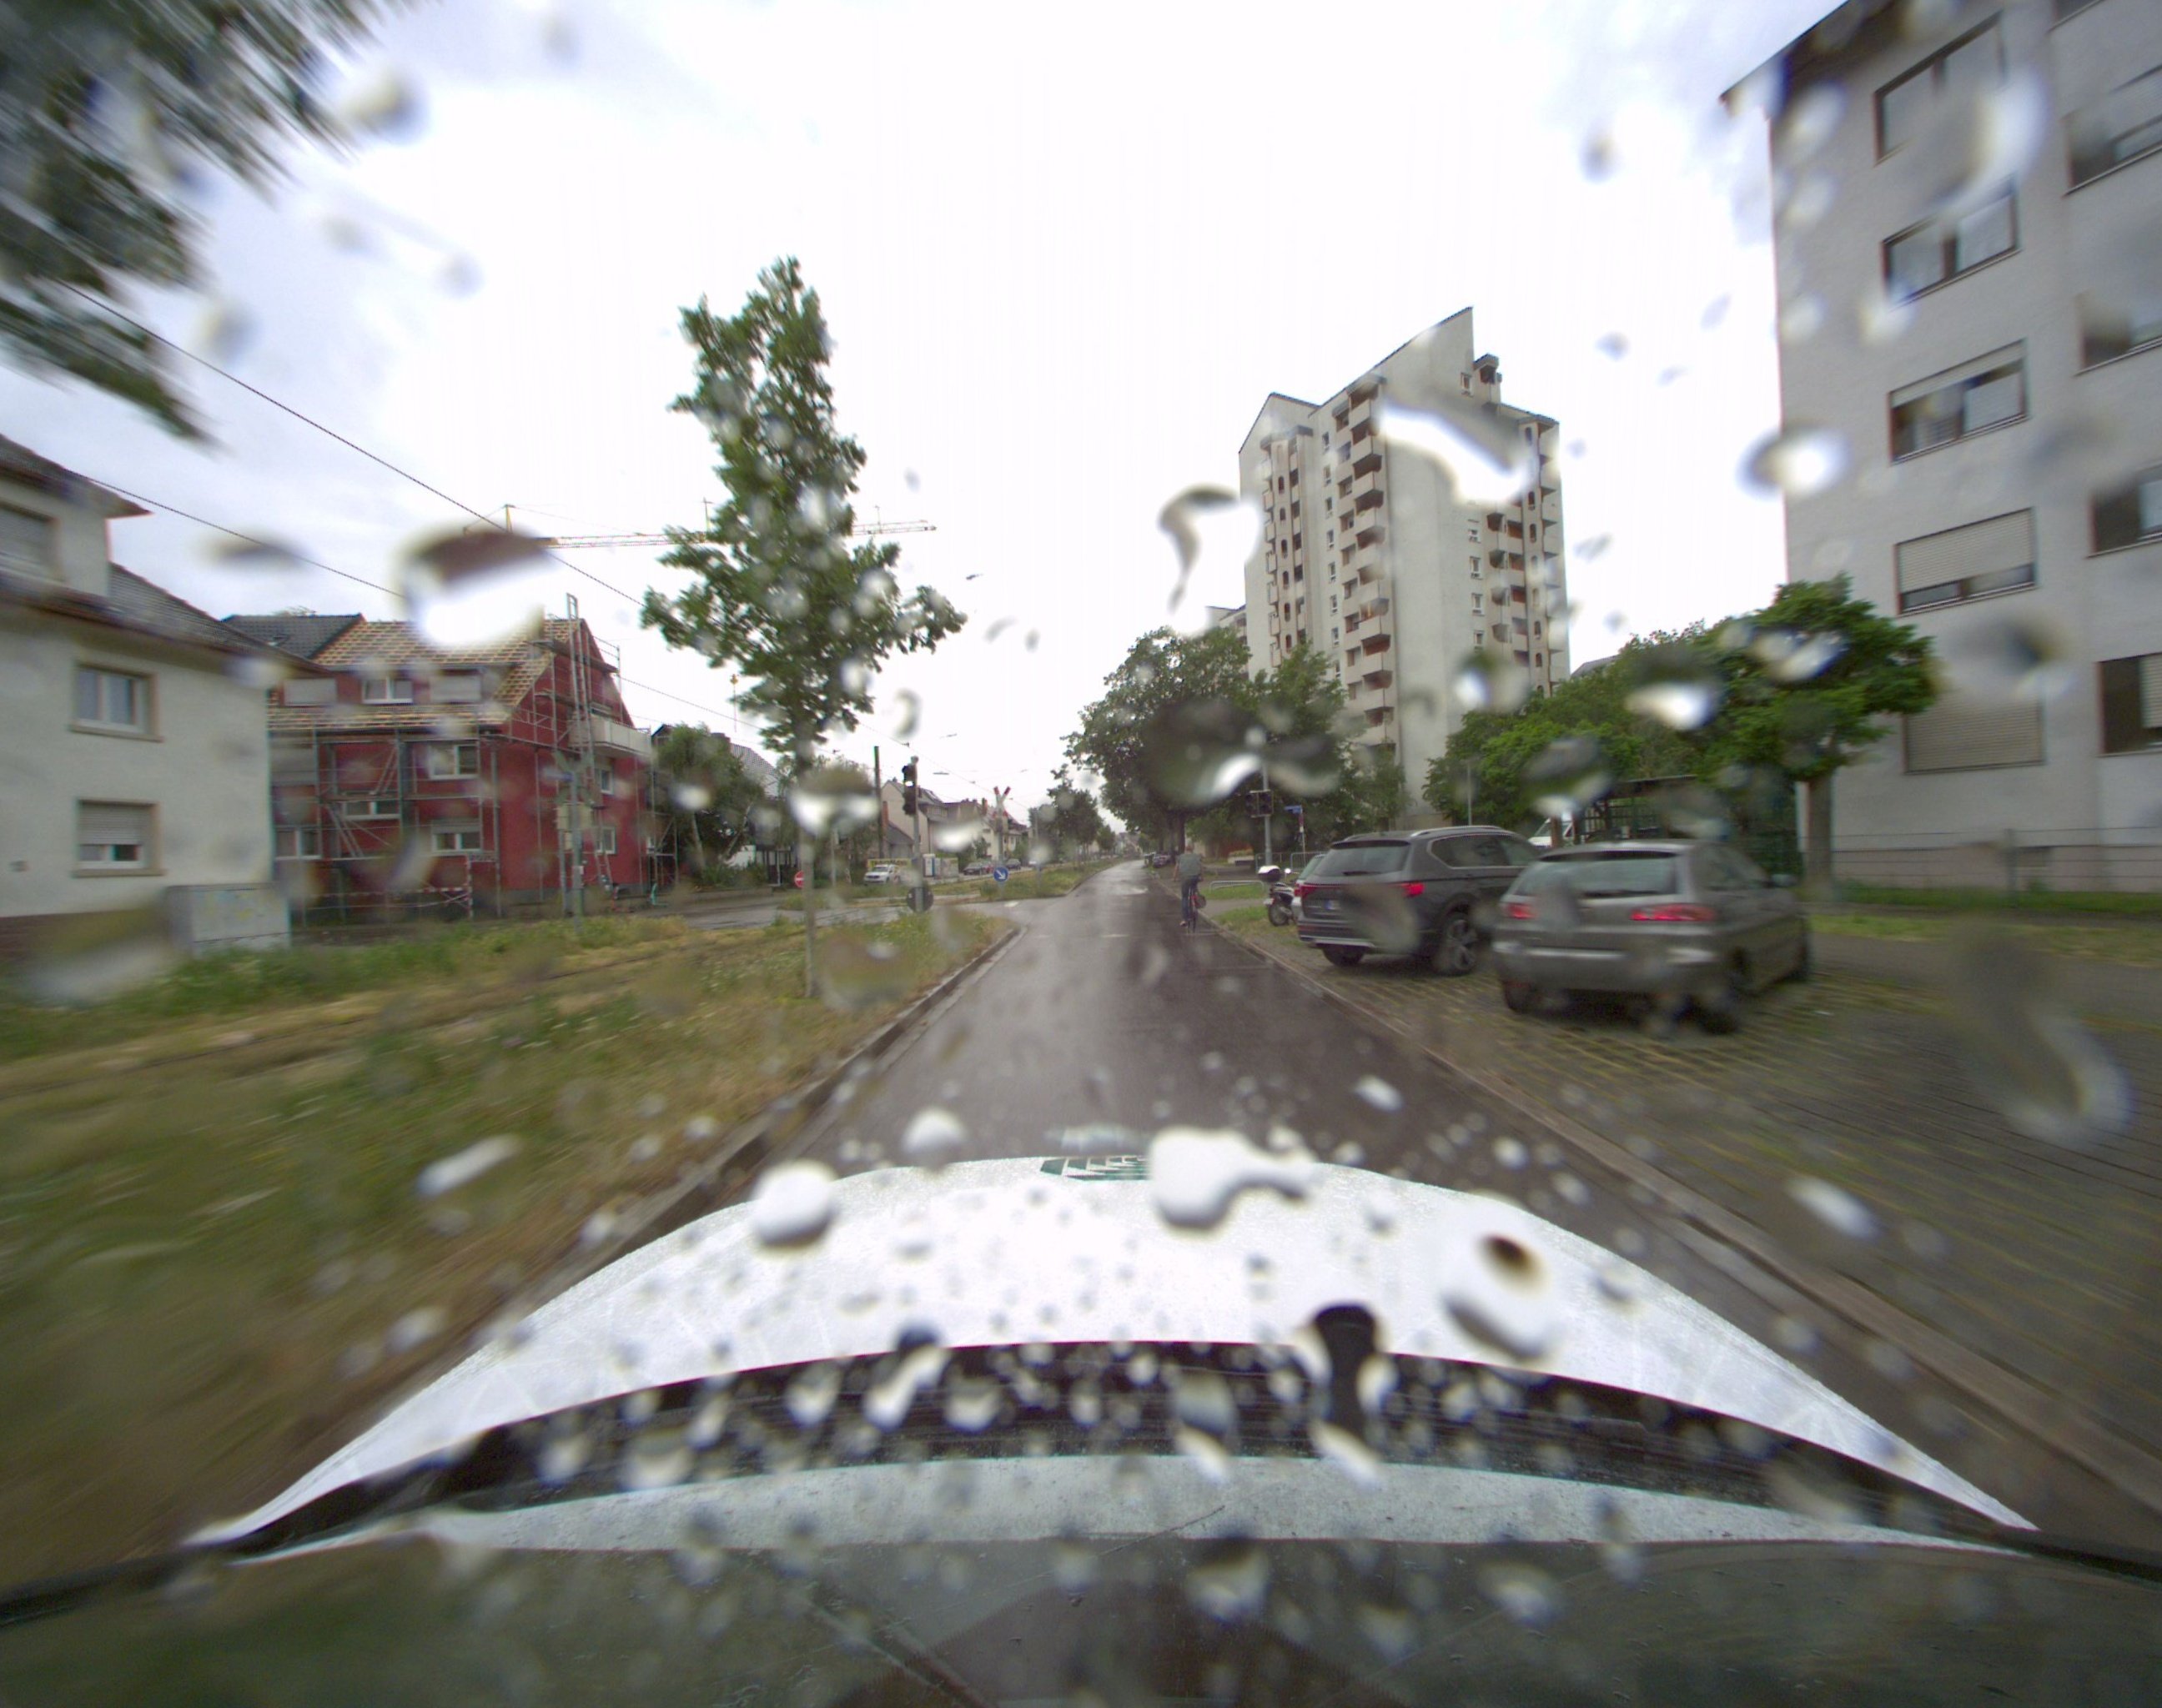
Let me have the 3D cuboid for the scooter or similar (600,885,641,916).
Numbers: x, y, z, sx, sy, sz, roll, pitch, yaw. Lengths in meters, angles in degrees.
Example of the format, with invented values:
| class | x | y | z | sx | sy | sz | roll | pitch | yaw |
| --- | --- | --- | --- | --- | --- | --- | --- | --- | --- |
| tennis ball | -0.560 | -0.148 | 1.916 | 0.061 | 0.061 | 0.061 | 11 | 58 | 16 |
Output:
| class | x | y | z | sx | sy | sz | roll | pitch | yaw |
| --- | --- | --- | --- | --- | --- | --- | --- | --- | --- |
| scooter or similar | -17.930 | 1.801 | 31.702 | 0.435 | 1.129 | 1.291 | -3 | 0 | 33 |

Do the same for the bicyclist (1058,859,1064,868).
| class | x | y | z | sx | sy | sz | roll | pitch | yaw |
| --- | --- | --- | --- | --- | --- | --- | --- | --- | --- |
| bicyclist | -4.229 | 1.989 | 169.865 | 1.014 | 1.685 | 1.093 | -3 | 0 | 3 |

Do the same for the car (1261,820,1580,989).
| class | x | y | z | sx | sy | sz | roll | pitch | yaw |
| --- | --- | --- | --- | --- | --- | --- | --- | --- | --- |
| car | 4.465 | 0.485 | 10.406 | 4.372 | 1.651 | 1.836 | -3 | 0 | -39 |

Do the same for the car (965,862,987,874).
| class | x | y | z | sx | sy | sz | roll | pitch | yaw |
| --- | --- | --- | --- | --- | --- | --- | --- | --- | --- |
| car | -11.585 | 1.571 | 89.824 | 1.656 | 1.244 | 4.076 | -1 | 0 | 4 |

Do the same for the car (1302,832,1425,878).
| class | x | y | z | sx | sy | sz | roll | pitch | yaw |
| --- | --- | --- | --- | --- | --- | --- | --- | --- | --- |
| car | 12.491 | 0.042 | 36.139 | 4.807 | 1.745 | 1.991 | -3 | 0 | -13 |

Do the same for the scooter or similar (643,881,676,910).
| class | x | y | z | sx | sy | sz | roll | pitch | yaw |
| --- | --- | --- | --- | --- | --- | --- | --- | --- | --- |
| scooter or similar | -17.999 | 1.767 | 34.810 | 0.390 | 1.180 | 1.289 | -3 | 0 | 18 |

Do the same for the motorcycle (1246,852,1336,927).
| class | x | y | z | sx | sy | sz | roll | pitch | yaw |
| --- | --- | --- | --- | --- | --- | --- | --- | --- | --- |
| motorcycle | 4.224 | 0.695 | 16.335 | 1.787 | 1.336 | 0.682 | -4 | 0 | -34 |

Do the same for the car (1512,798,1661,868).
| class | x | y | z | sx | sy | sz | roll | pitch | yaw |
| --- | --- | --- | --- | --- | --- | --- | --- | --- | --- |
| car | 23.582 | -0.963 | 38.051 | 6.062 | 2.964 | 2.121 | -3 | 0 | -13 |

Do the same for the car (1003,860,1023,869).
| class | x | y | z | sx | sy | sz | roll | pitch | yaw |
| --- | --- | --- | --- | --- | --- | --- | --- | --- | --- |
| car | -9.629 | 1.487 | 115.824 | 1.886 | 1.244 | 4.696 | -1 | 0 | 7 |

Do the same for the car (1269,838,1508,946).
| class | x | y | z | sx | sy | sz | roll | pitch | yaw |
| --- | --- | --- | --- | --- | --- | --- | --- | --- | --- |
| car | 5.353 | 0.571 | 13.995 | 4.142 | 1.422 | 1.720 | -4 | 0 | -34 |

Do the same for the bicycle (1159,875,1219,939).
| class | x | y | z | sx | sy | sz | roll | pitch | yaw |
| --- | --- | --- | --- | --- | --- | --- | --- | --- | --- |
| bicycle | 2.123 | 1.015 | 16.383 | 0.807 | 1.096 | 2.517 | -3 | 0 | 0 |

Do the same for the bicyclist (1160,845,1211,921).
| class | x | y | z | sx | sy | sz | roll | pitch | yaw |
| --- | --- | --- | --- | --- | --- | --- | --- | --- | --- |
| bicyclist | 2.090 | 0.562 | 16.414 | 0.807 | 1.432 | 1.060 | -3 | 0 | 0 |

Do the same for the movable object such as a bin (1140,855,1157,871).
| class | x | y | z | sx | sy | sz | roll | pitch | yaw |
| --- | --- | --- | --- | --- | --- | --- | --- | --- | --- |
| movable object such as a bin | 6.862 | 0.886 | 82.472 | 1.128 | 1.457 | 1.393 | -8 | 1 | -17 |

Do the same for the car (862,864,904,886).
| class | x | y | z | sx | sy | sz | roll | pitch | yaw |
| --- | --- | --- | --- | --- | --- | --- | --- | --- | --- |
| car | -14.719 | 1.522 | 60.721 | 1.702 | 1.542 | 4.428 | 0 | 0 | 5 |

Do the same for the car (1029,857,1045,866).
| class | x | y | z | sx | sy | sz | roll | pitch | yaw |
| --- | --- | --- | --- | --- | --- | --- | --- | --- | --- |
| car | -7.491 | 1.327 | 138.101 | 1.886 | 1.469 | 4.696 | -1 | 0 | 7 |

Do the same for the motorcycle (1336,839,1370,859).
| class | x | y | z | sx | sy | sz | roll | pitch | yaw |
| --- | --- | --- | --- | --- | --- | --- | --- | --- | --- |
| motorcycle | 19.870 | -0.366 | 59.520 | 0.889 | 1.288 | 2.278 | -3 | 0 | -34 |

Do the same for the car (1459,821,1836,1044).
| class | x | y | z | sx | sy | sz | roll | pitch | yaw |
| --- | --- | --- | --- | --- | --- | --- | --- | --- | --- |
| car | 5.294 | 0.504 | 7.409 | 4.020 | 1.429 | 1.715 | -3 | 0 | -39 |

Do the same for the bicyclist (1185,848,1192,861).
| class | x | y | z | sx | sy | sz | roll | pitch | yaw |
| --- | --- | --- | --- | --- | --- | --- | --- | --- | --- |
| bicyclist | 13.313 | 0.076 | 101.119 | 0.731 | 1.594 | 0.945 | -3 | 0 | 3 |

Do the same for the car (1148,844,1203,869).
| class | x | y | z | sx | sy | sz | roll | pitch | yaw |
| --- | --- | --- | --- | --- | --- | --- | --- | --- | --- |
| car | 8.021 | 0.202 | 69.332 | 4.160 | 1.719 | 1.981 | -6 | 1 | -29 |
